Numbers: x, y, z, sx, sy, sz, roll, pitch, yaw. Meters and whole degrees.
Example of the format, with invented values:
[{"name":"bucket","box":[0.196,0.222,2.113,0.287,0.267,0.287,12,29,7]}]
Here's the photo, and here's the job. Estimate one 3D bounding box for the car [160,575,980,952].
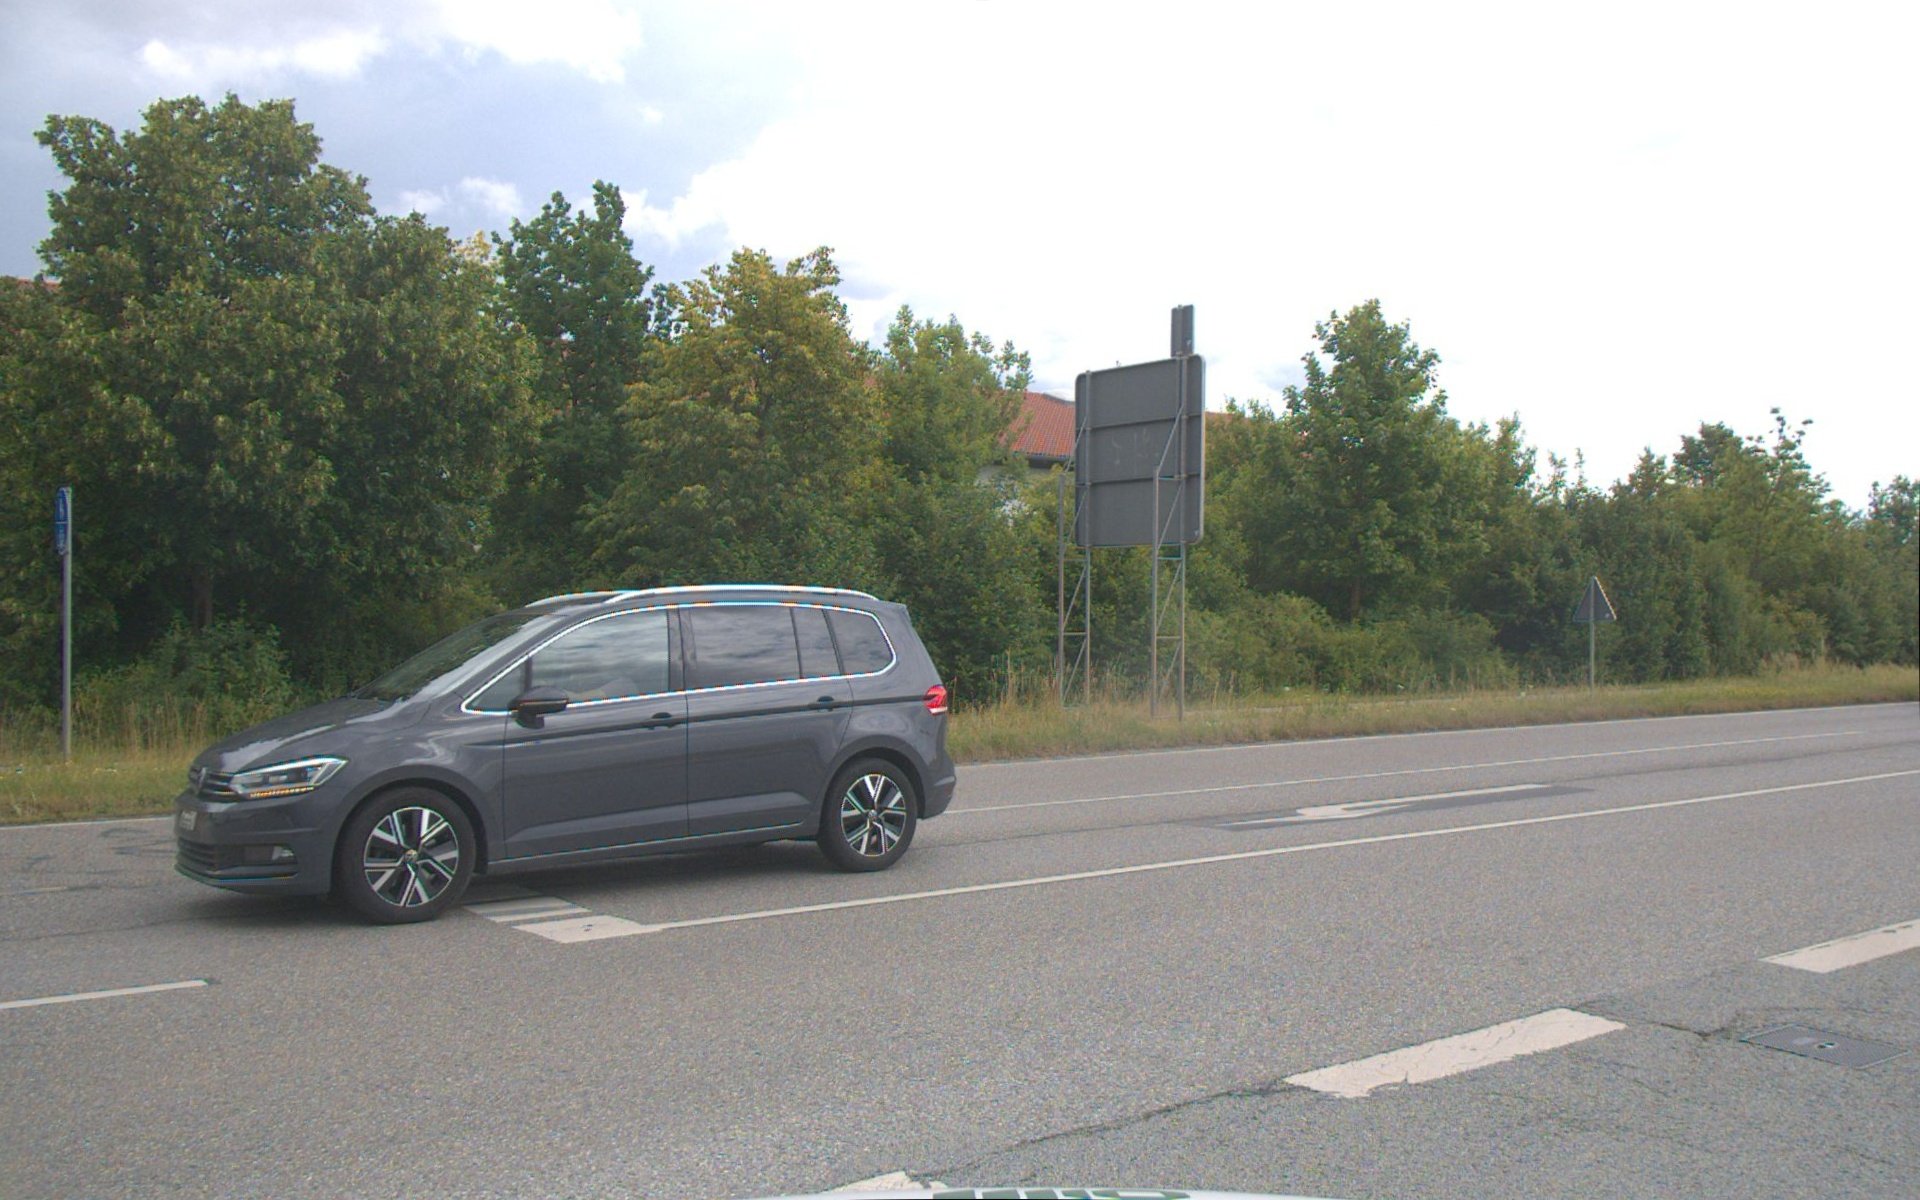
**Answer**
[{"name":"car","box":[-2.074,0.746,9.429,4.246,1.687,1.730,0,-1,-38]}]
